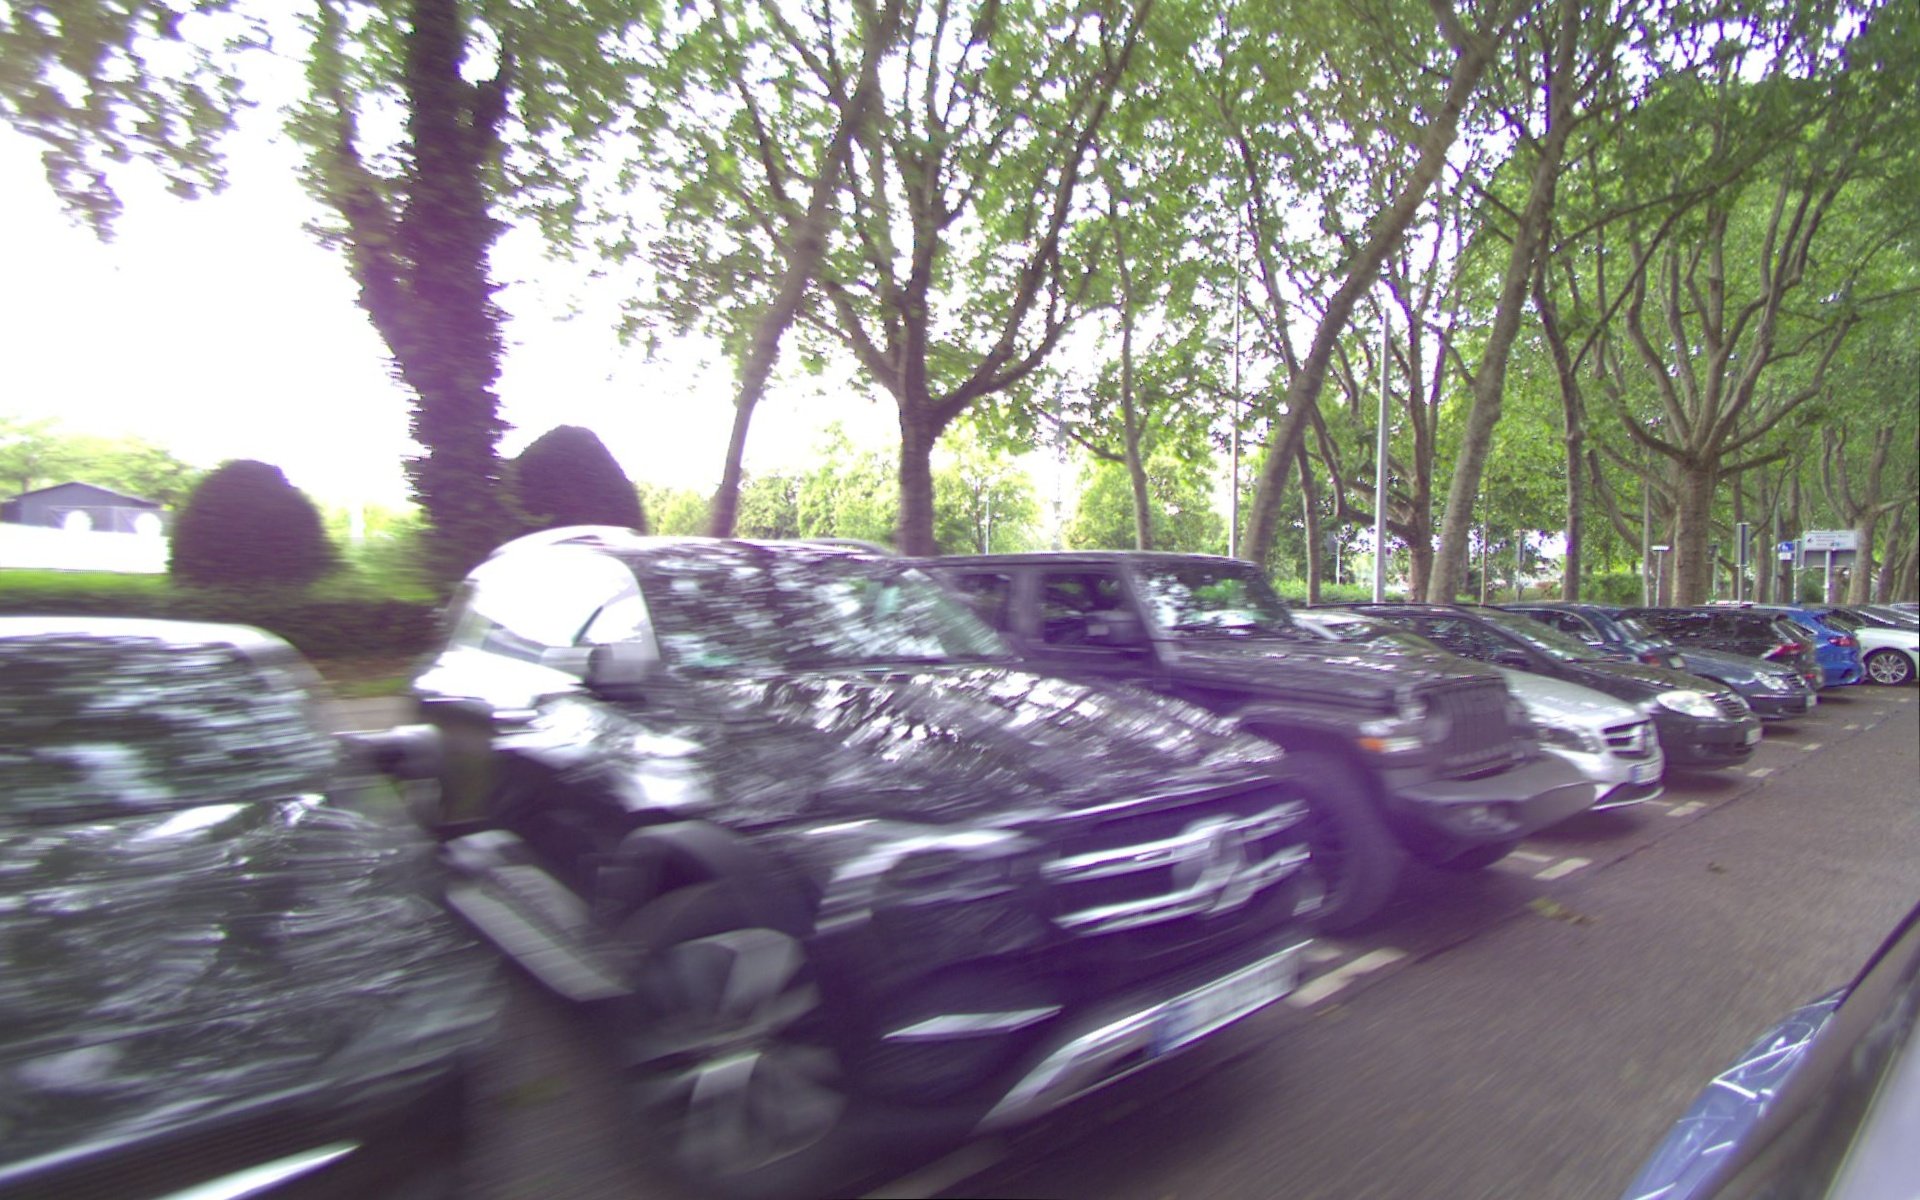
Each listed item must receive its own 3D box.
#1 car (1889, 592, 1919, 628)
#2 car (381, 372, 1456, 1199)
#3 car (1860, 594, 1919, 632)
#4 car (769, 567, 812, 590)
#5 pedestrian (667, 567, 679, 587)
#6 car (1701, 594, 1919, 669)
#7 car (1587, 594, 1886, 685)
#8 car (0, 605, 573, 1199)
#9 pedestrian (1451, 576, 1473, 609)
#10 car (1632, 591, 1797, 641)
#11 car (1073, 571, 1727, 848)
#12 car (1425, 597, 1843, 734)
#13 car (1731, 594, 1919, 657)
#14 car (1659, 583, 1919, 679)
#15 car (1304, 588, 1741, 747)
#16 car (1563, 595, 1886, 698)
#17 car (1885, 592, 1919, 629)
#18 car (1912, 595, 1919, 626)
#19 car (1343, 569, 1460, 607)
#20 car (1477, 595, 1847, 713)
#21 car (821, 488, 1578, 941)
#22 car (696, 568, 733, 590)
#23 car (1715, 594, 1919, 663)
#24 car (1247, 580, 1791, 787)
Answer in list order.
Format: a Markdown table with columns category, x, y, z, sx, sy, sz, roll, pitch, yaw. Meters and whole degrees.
| category | x | y | z | sx | sy | sz | roll | pitch | yaw |
| --- | --- | --- | --- | --- | --- | --- | --- | --- | --- |
| car | 43.039 | 0.419 | 43.323 | 1.966 | 1.542 | 4.669 | 0 | -1 | -42 |
| car | -0.726 | 0.525 | 4.093 | 2.011 | 1.819 | 4.503 | 1 | 0 | -40 |
| car | 39.187 | 0.503 | 40.295 | 1.966 | 1.525 | 4.825 | 0 | -1 | -42 |
| car | -14.968 | -1.891 | 89.261 | 1.964 | 2.039 | 3.995 | -1 | 1 | -39 |
| pedestrian | -24.062 | -1.917 | 84.840 | 0.722 | 1.664 | 0.687 | 0 | 1 | 43 |
| car | 17.913 | 0.593 | 20.998 | 1.688 | 1.435 | 3.838 | 0 | 0 | -39 |
| car | 13.896 | 0.634 | 18.304 | 1.752 | 1.466 | 4.024 | 1 | 0 | -39 |
| car | -2.588 | 0.735 | 2.828 | 1.708 | 1.408 | 3.993 | 0 | 0 | -38 |
| pedestrian | 24.302 | -0.380 | 49.011 | 0.685 | 1.587 | 0.725 | 0 | 1 | -34 |
| car | 25.817 | 0.506 | 34.726 | 1.754 | 1.480 | 4.283 | 0 | 2 | -42 |
| car | 3.197 | 0.633 | 8.243 | 2.009 | 1.592 | 4.507 | 1 | 0 | -37 |
| car | 8.471 | 0.704 | 13.002 | 1.755 | 1.474 | 4.199 | 1 | 0 | -43 |
| car | 21.649 | 0.576 | 24.399 | 1.686 | 1.435 | 4.600 | 0 | 0 | -37 |
| car | 16.282 | 0.526 | 19.276 | 2.017 | 1.644 | 4.533 | 0 | 0 | -39 |
| car | 6.438 | 0.657 | 11.951 | 1.755 | 1.538 | 4.199 | 1 | 0 | -43 |
| car | 12.332 | 0.661 | 16.482 | 4.016 | 1.466 | 1.884 | 0 | 0 | 44 |
| car | 40.984 | 0.449 | 41.495 | 1.966 | 1.496 | 4.377 | -1 | 1 | -42 |
| car | 50.764 | 0.496 | 50.294 | 1.962 | 1.542 | 4.679 | 0 | -1 | -34 |
| car | 18.886 | -0.545 | 43.430 | 1.754 | 1.480 | 4.283 | 0 | 2 | -42 |
| car | 10.125 | 0.677 | 14.844 | 1.755 | 1.474 | 4.199 | 1 | 0 | -43 |
| car | 1.174 | 0.479 | 6.599 | 2.011 | 1.890 | 4.503 | 1 | 0 | -41 |
| car | -23.768 | -2.030 | 97.989 | 1.964 | 2.039 | 3.995 | -1 | 1 | -39 |
| car | 19.622 | 0.587 | 22.795 | 4.018 | 1.435 | 1.880 | 0 | 0 | 45 |
| car | 5.069 | 0.634 | 9.682 | 1.754 | 1.538 | 4.203 | -1 | 0 | -40 |
